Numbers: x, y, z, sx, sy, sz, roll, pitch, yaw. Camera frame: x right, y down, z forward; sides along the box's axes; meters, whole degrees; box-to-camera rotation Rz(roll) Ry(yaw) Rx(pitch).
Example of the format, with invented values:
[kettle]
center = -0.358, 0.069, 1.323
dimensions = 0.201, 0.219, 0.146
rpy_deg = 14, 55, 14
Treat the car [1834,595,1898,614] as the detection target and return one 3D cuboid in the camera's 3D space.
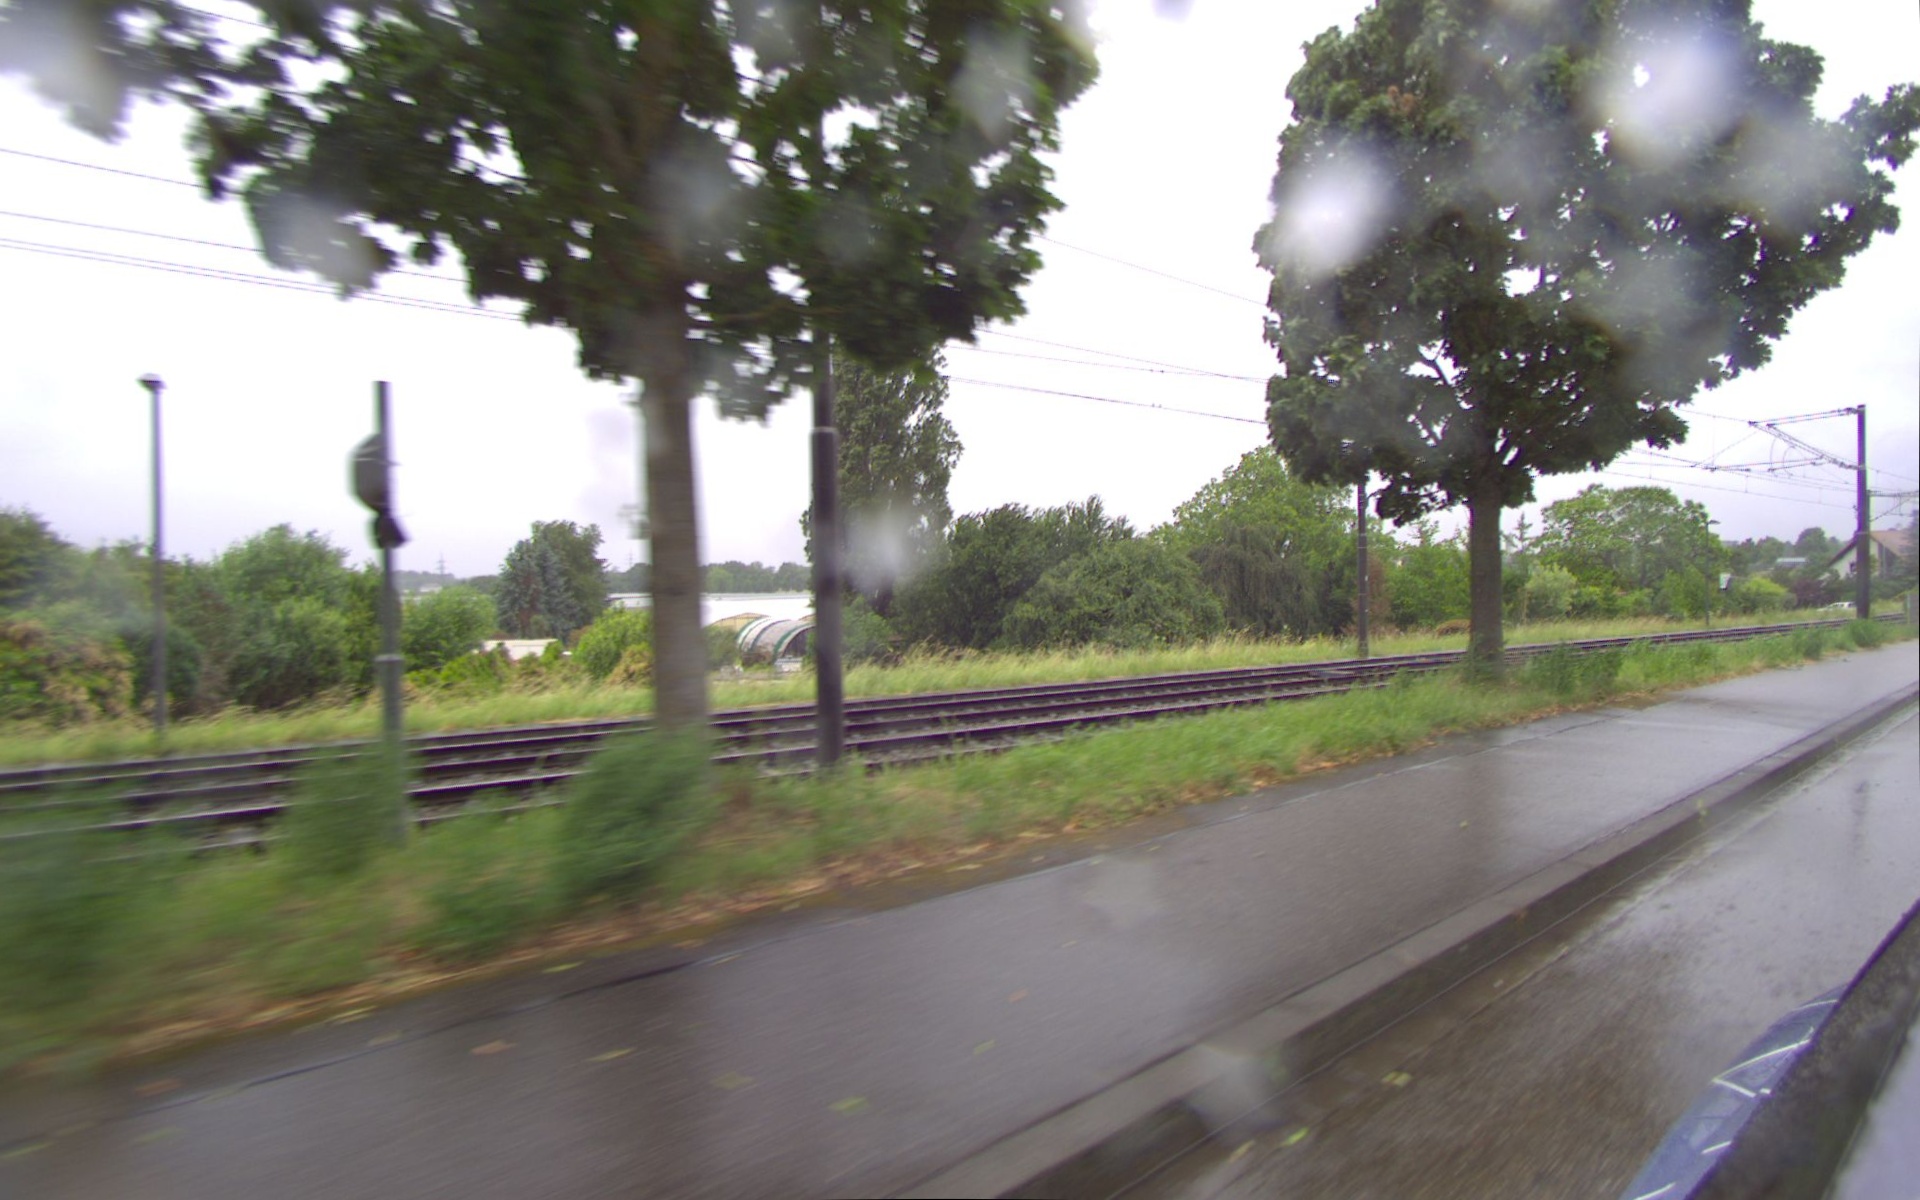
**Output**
[car]
center = 88.156, 0.402, 98.559
dimensions = 1.839, 1.658, 4.204
rpy_deg = -3, 1, -20
